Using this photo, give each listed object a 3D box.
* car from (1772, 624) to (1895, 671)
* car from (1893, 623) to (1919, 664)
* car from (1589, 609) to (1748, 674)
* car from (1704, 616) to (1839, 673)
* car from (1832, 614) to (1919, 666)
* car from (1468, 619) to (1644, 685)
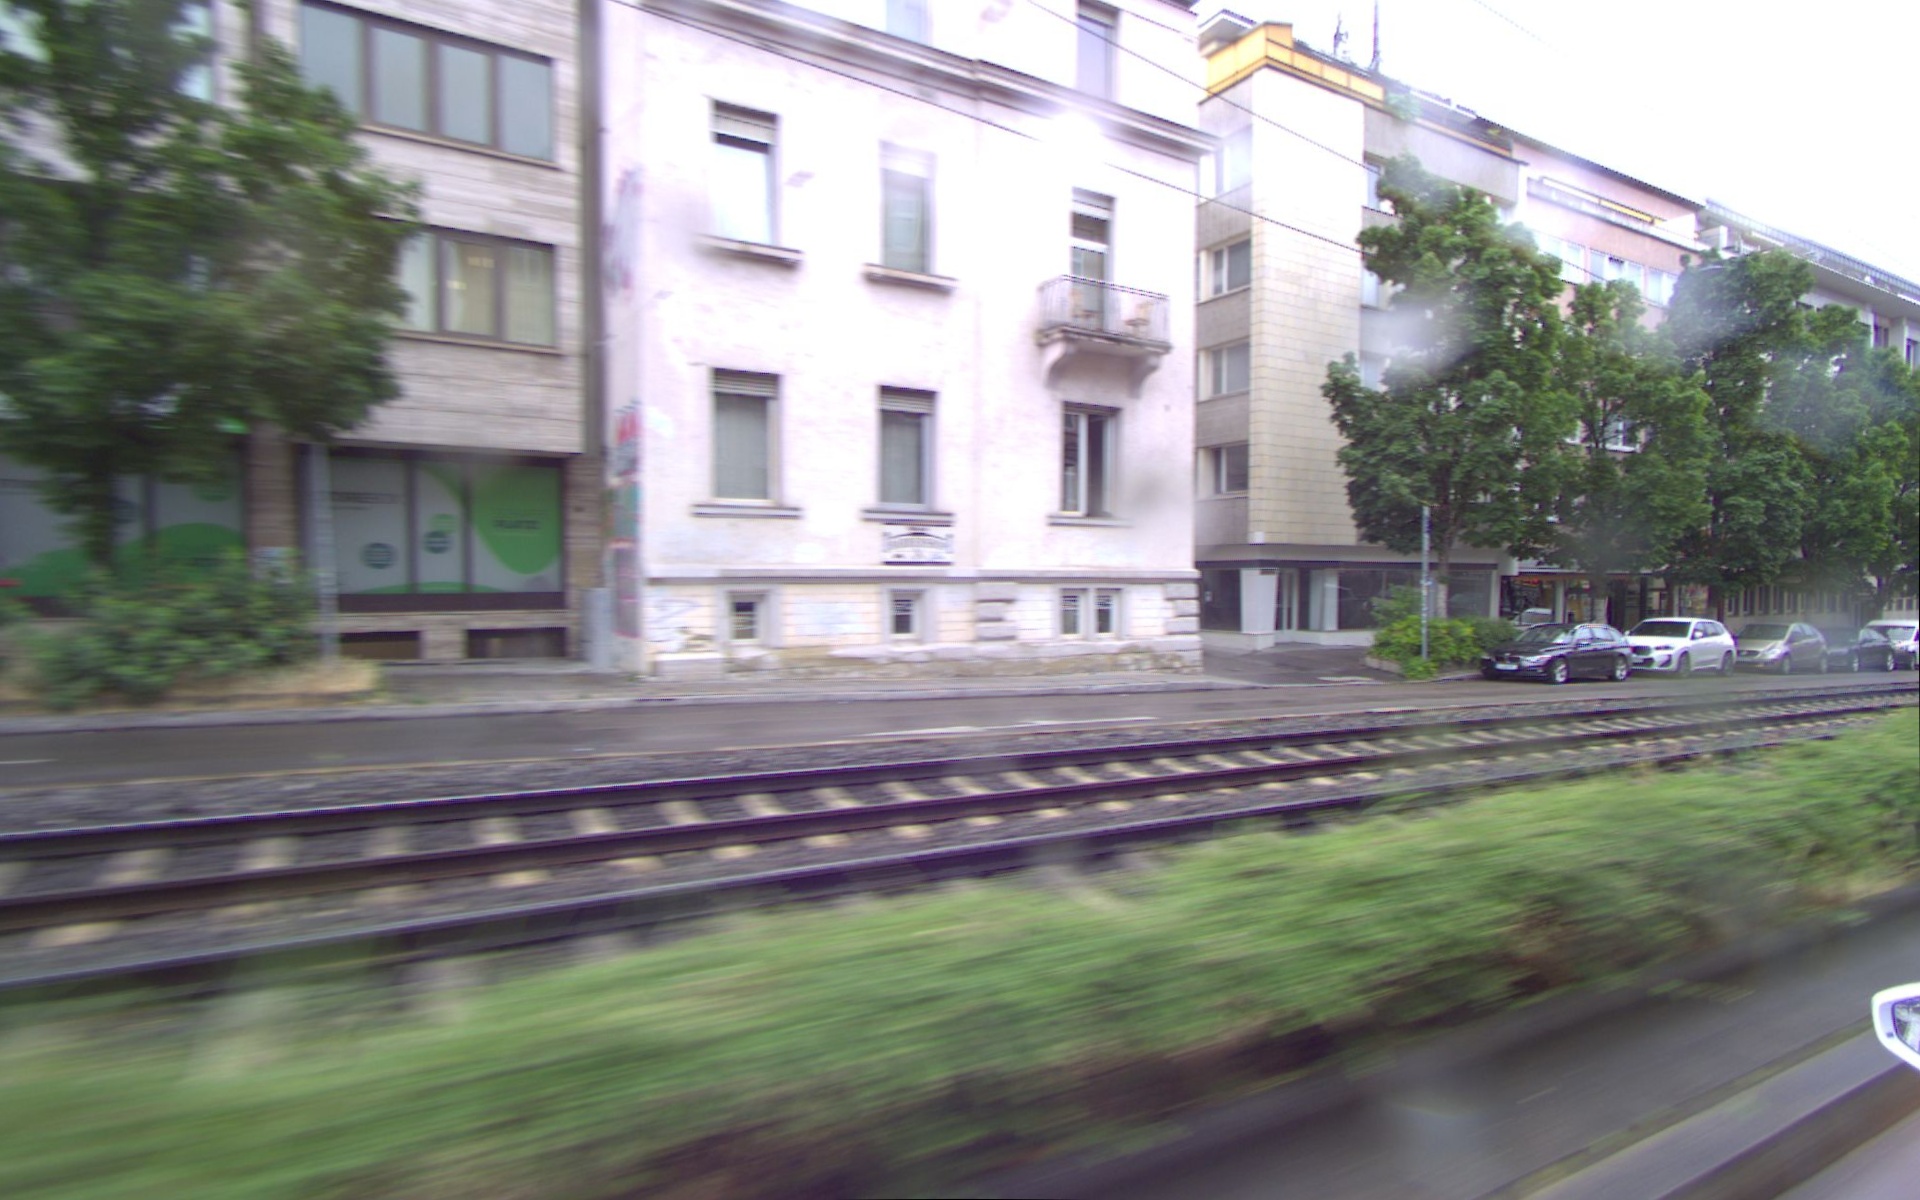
[{"bbox_3d":[29.458,1.616,33.851,4.380,1.436,1.846,3,-3,-31],"label":"car"},{"bbox_3d":[39.479,1.829,40.334,3.999,1.547,1.846,3,0,-31],"label":"car"},{"bbox_3d":[19.947,1.182,28.233,4.666,1.569,1.846,3,0,-31],"label":"car"},{"bbox_3d":[25.475,1.398,31.516,4.380,1.569,1.846,3,0,-31],"label":"car"},{"bbox_3d":[34.280,1.492,37.057,4.380,1.723,1.846,3,0,-31],"label":"car"},{"bbox_3d":[14.888,1.317,25.018,4.667,1.396,1.685,4,0,-31],"label":"car"}]
